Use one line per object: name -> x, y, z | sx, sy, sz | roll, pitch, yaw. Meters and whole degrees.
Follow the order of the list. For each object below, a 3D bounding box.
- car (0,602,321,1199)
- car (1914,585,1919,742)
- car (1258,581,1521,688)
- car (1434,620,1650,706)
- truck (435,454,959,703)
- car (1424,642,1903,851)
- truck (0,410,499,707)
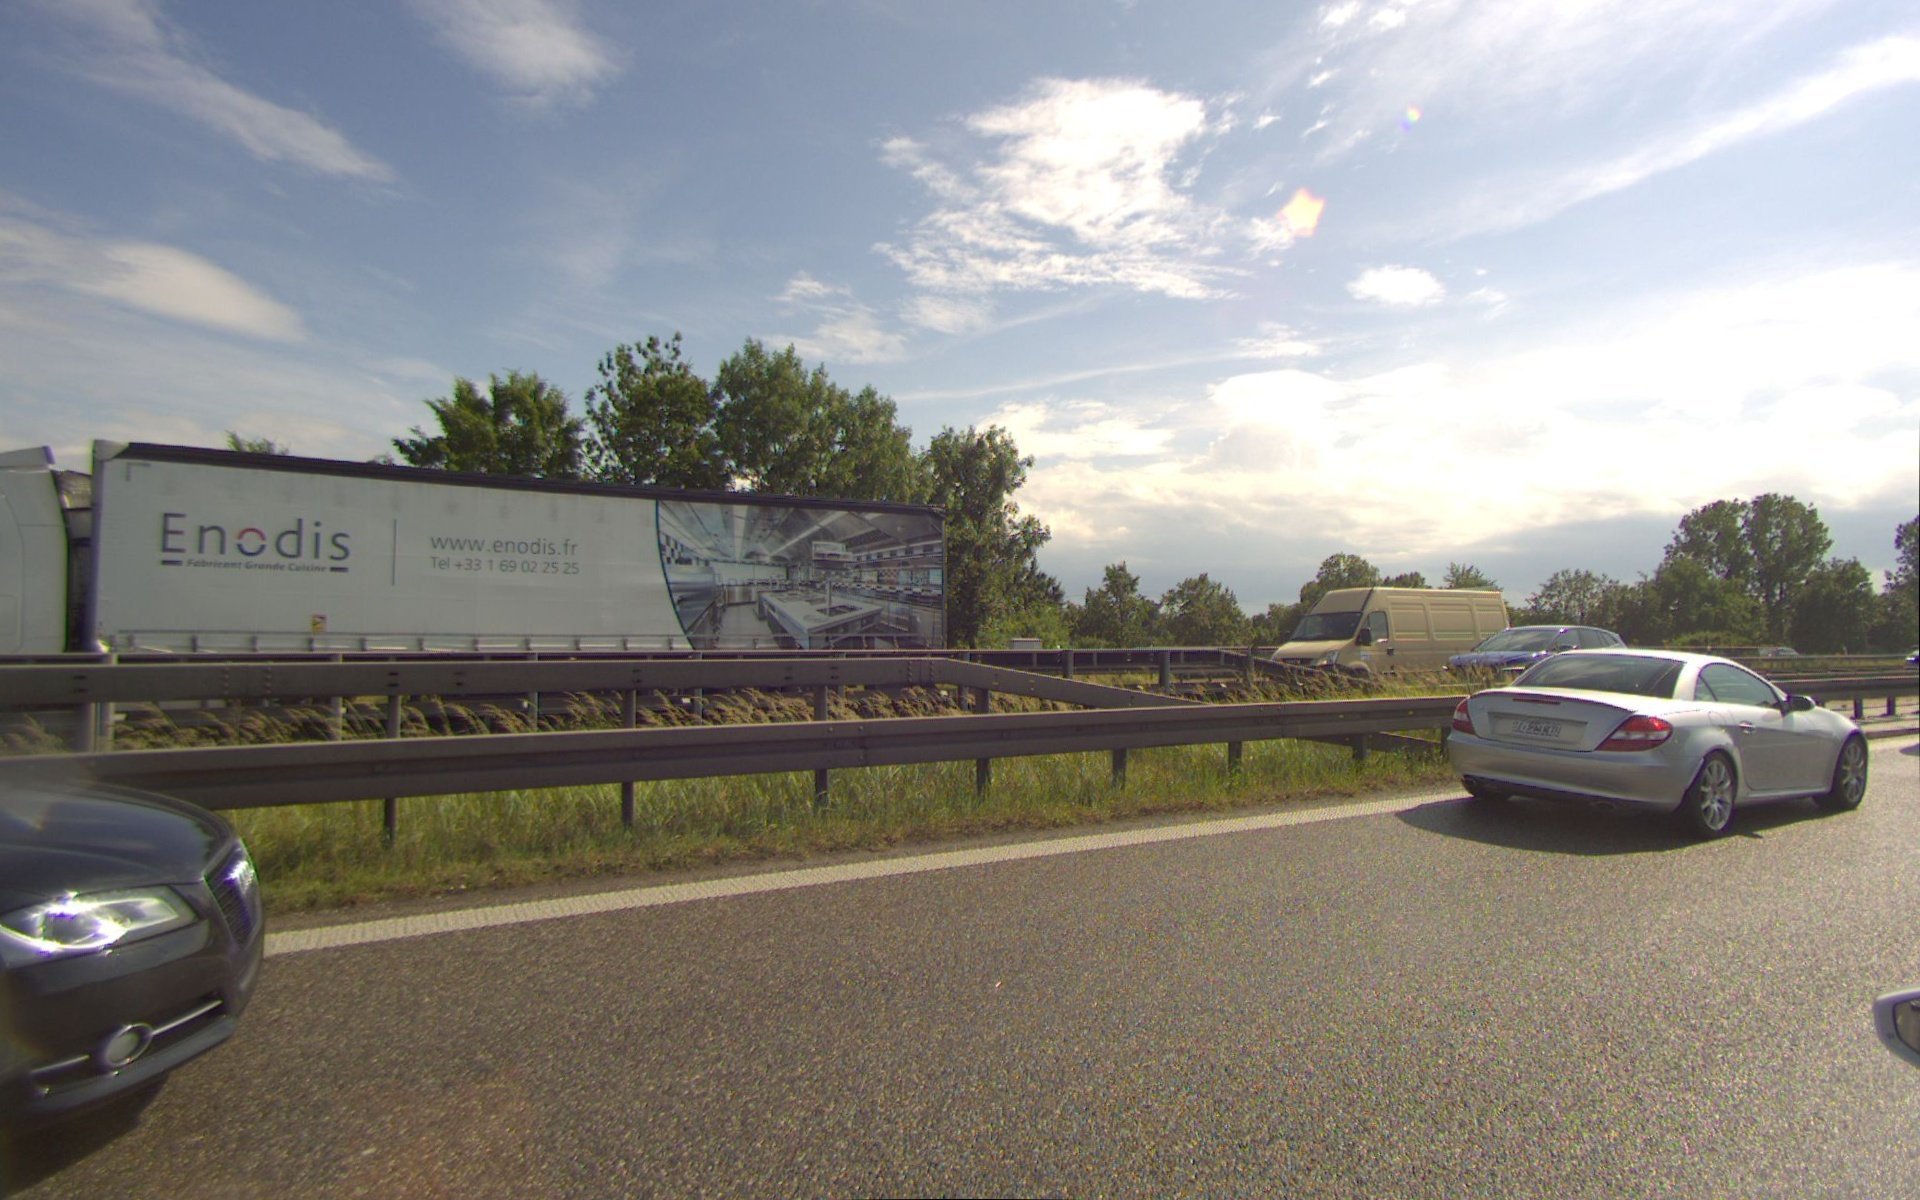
car -> -3.977, 0.708, 2.295 | 4.088, 1.444, 1.759 | 2, 0, -29
car -> 15.150, 0.869, 13.524 | 5.207, 2.040, 1.984 | 1, -1, -30
car -> 10.222, 0.757, 23.633 | 6.898, 2.237, 1.984 | 1, 0, -31
car -> 11.674, 1.218, 20.128 | 4.050, 1.479, 1.984 | 2, 0, -30
truck -> -4.772, -0.154, 19.380 | 9.313, 3.903, 2.835 | 2, -1, -31
car -> 5.841, 1.021, 8.249 | 4.015, 1.295, 1.716 | 1, -1, -30
truck -> -11.516, -0.458, 15.388 | 7.786, 3.871, 2.848 | 2, -1, -30
